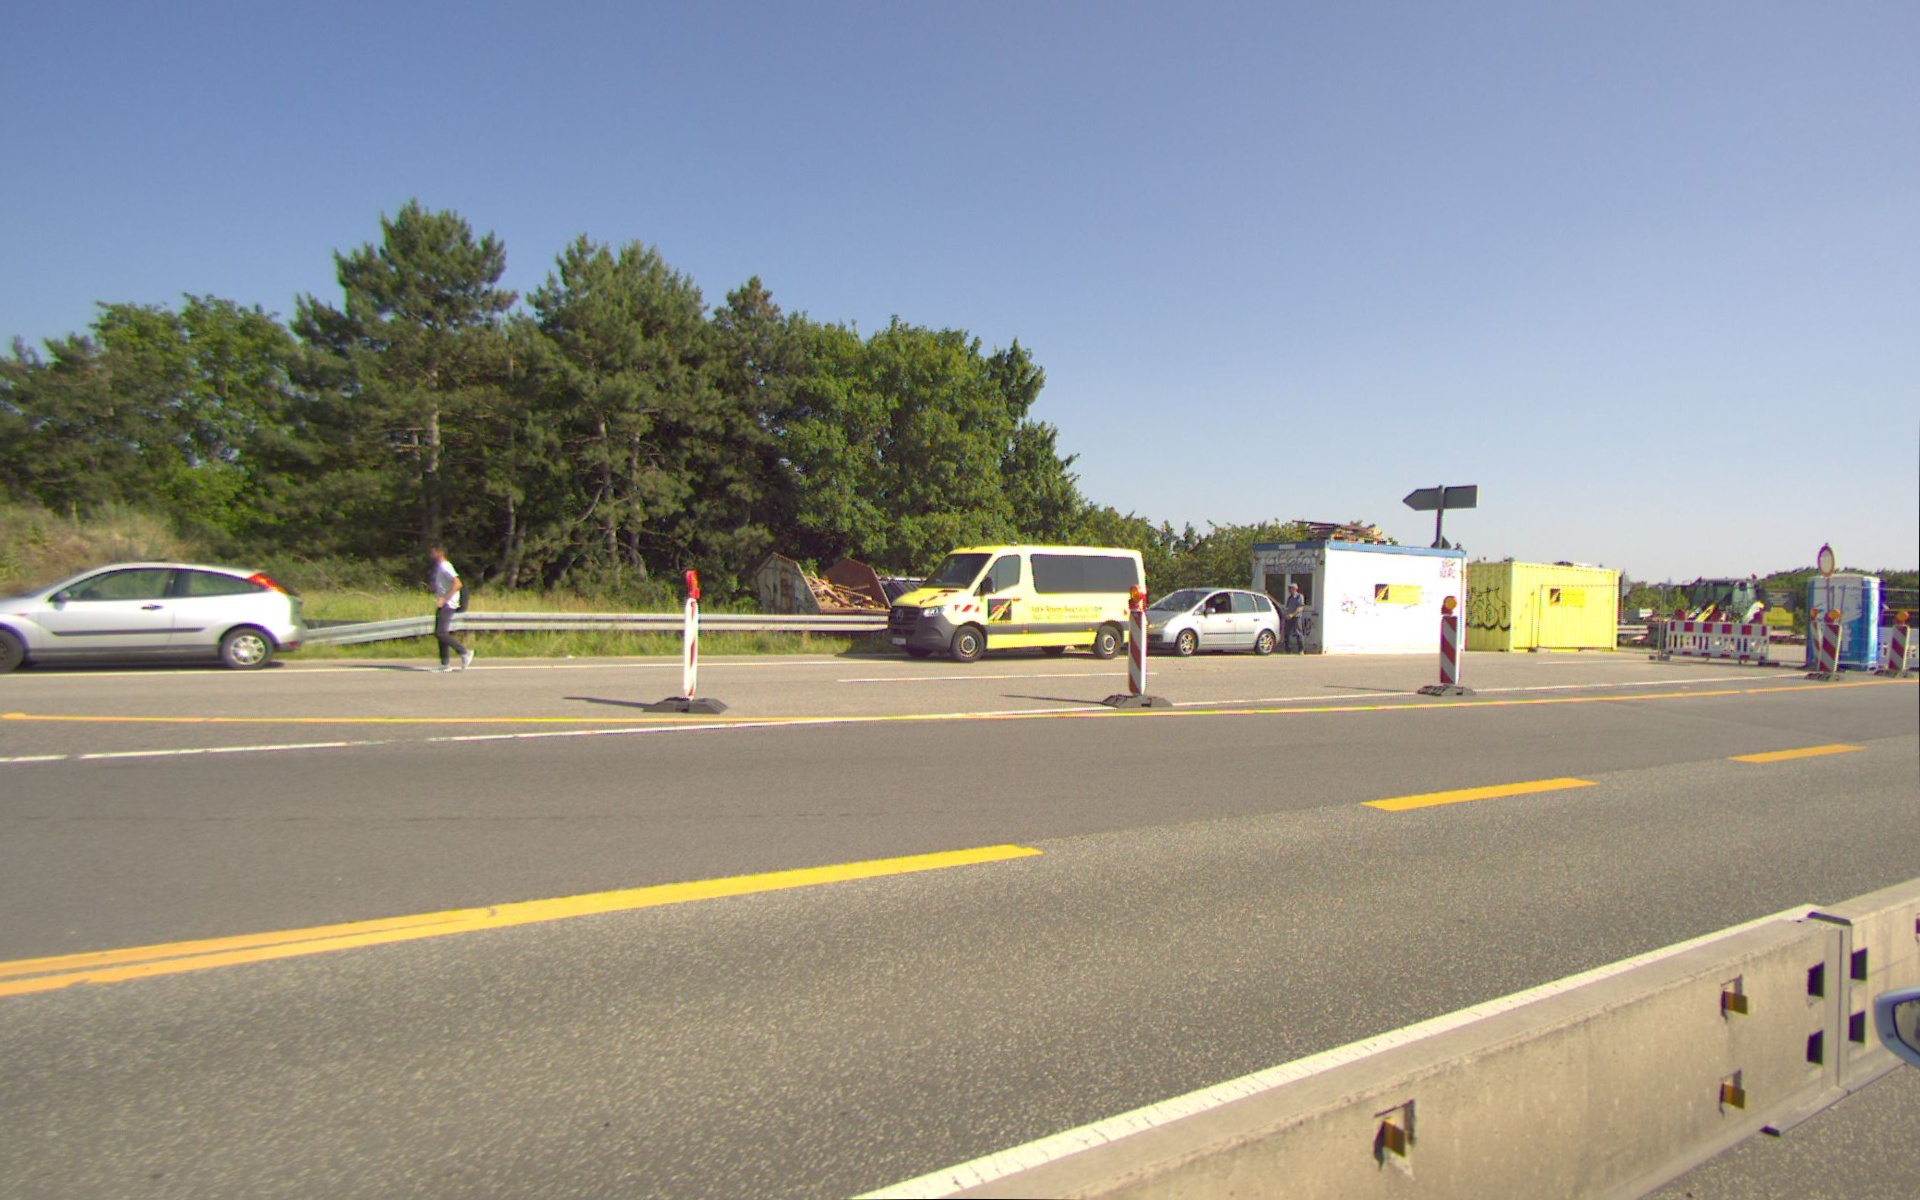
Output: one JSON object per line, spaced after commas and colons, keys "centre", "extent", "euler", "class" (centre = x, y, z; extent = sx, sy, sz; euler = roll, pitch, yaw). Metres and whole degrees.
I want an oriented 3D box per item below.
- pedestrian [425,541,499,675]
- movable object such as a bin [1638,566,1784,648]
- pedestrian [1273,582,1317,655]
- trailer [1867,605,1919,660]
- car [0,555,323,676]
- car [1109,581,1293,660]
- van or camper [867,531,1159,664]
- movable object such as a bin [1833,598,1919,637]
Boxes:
{"centre": [-7.166, 0.111, 14.453], "extent": [0.791, 1.844, 0.734], "euler": [1, 1, -41], "class": "pedestrian"}
{"centre": [26.905, 0.263, 35.972], "extent": [5.039, 2.752, 2.025], "euler": [1, 1, -26], "class": "movable object such as a bin"}
{"centre": [8.336, 0.442, 24.980], "extent": [0.712, 1.785, 0.718], "euler": [1, 1, -31], "class": "pedestrian"}
{"centre": [31.371, 1.062, 32.963], "extent": [3.501, 1.671, 1.707], "euler": [1, 2, -37], "class": "trailer"}
{"centre": [-11.333, 0.188, 13.852], "extent": [4.251, 1.479, 1.851], "euler": [1, 1, -34], "class": "car"}
{"centre": [5.784, 0.476, 23.923], "extent": [4.411, 1.708, 1.677], "euler": [1, 1, -33], "class": "car"}
{"centre": [1.243, -0.008, 20.820], "extent": [6.141, 2.409, 1.980], "euler": [1, 0, -36], "class": "van or camper"}
{"centre": [53.814, 0.964, 57.658], "extent": [2.198, 2.145, 5.399], "euler": [1, 0, -11], "class": "movable object such as a bin"}
